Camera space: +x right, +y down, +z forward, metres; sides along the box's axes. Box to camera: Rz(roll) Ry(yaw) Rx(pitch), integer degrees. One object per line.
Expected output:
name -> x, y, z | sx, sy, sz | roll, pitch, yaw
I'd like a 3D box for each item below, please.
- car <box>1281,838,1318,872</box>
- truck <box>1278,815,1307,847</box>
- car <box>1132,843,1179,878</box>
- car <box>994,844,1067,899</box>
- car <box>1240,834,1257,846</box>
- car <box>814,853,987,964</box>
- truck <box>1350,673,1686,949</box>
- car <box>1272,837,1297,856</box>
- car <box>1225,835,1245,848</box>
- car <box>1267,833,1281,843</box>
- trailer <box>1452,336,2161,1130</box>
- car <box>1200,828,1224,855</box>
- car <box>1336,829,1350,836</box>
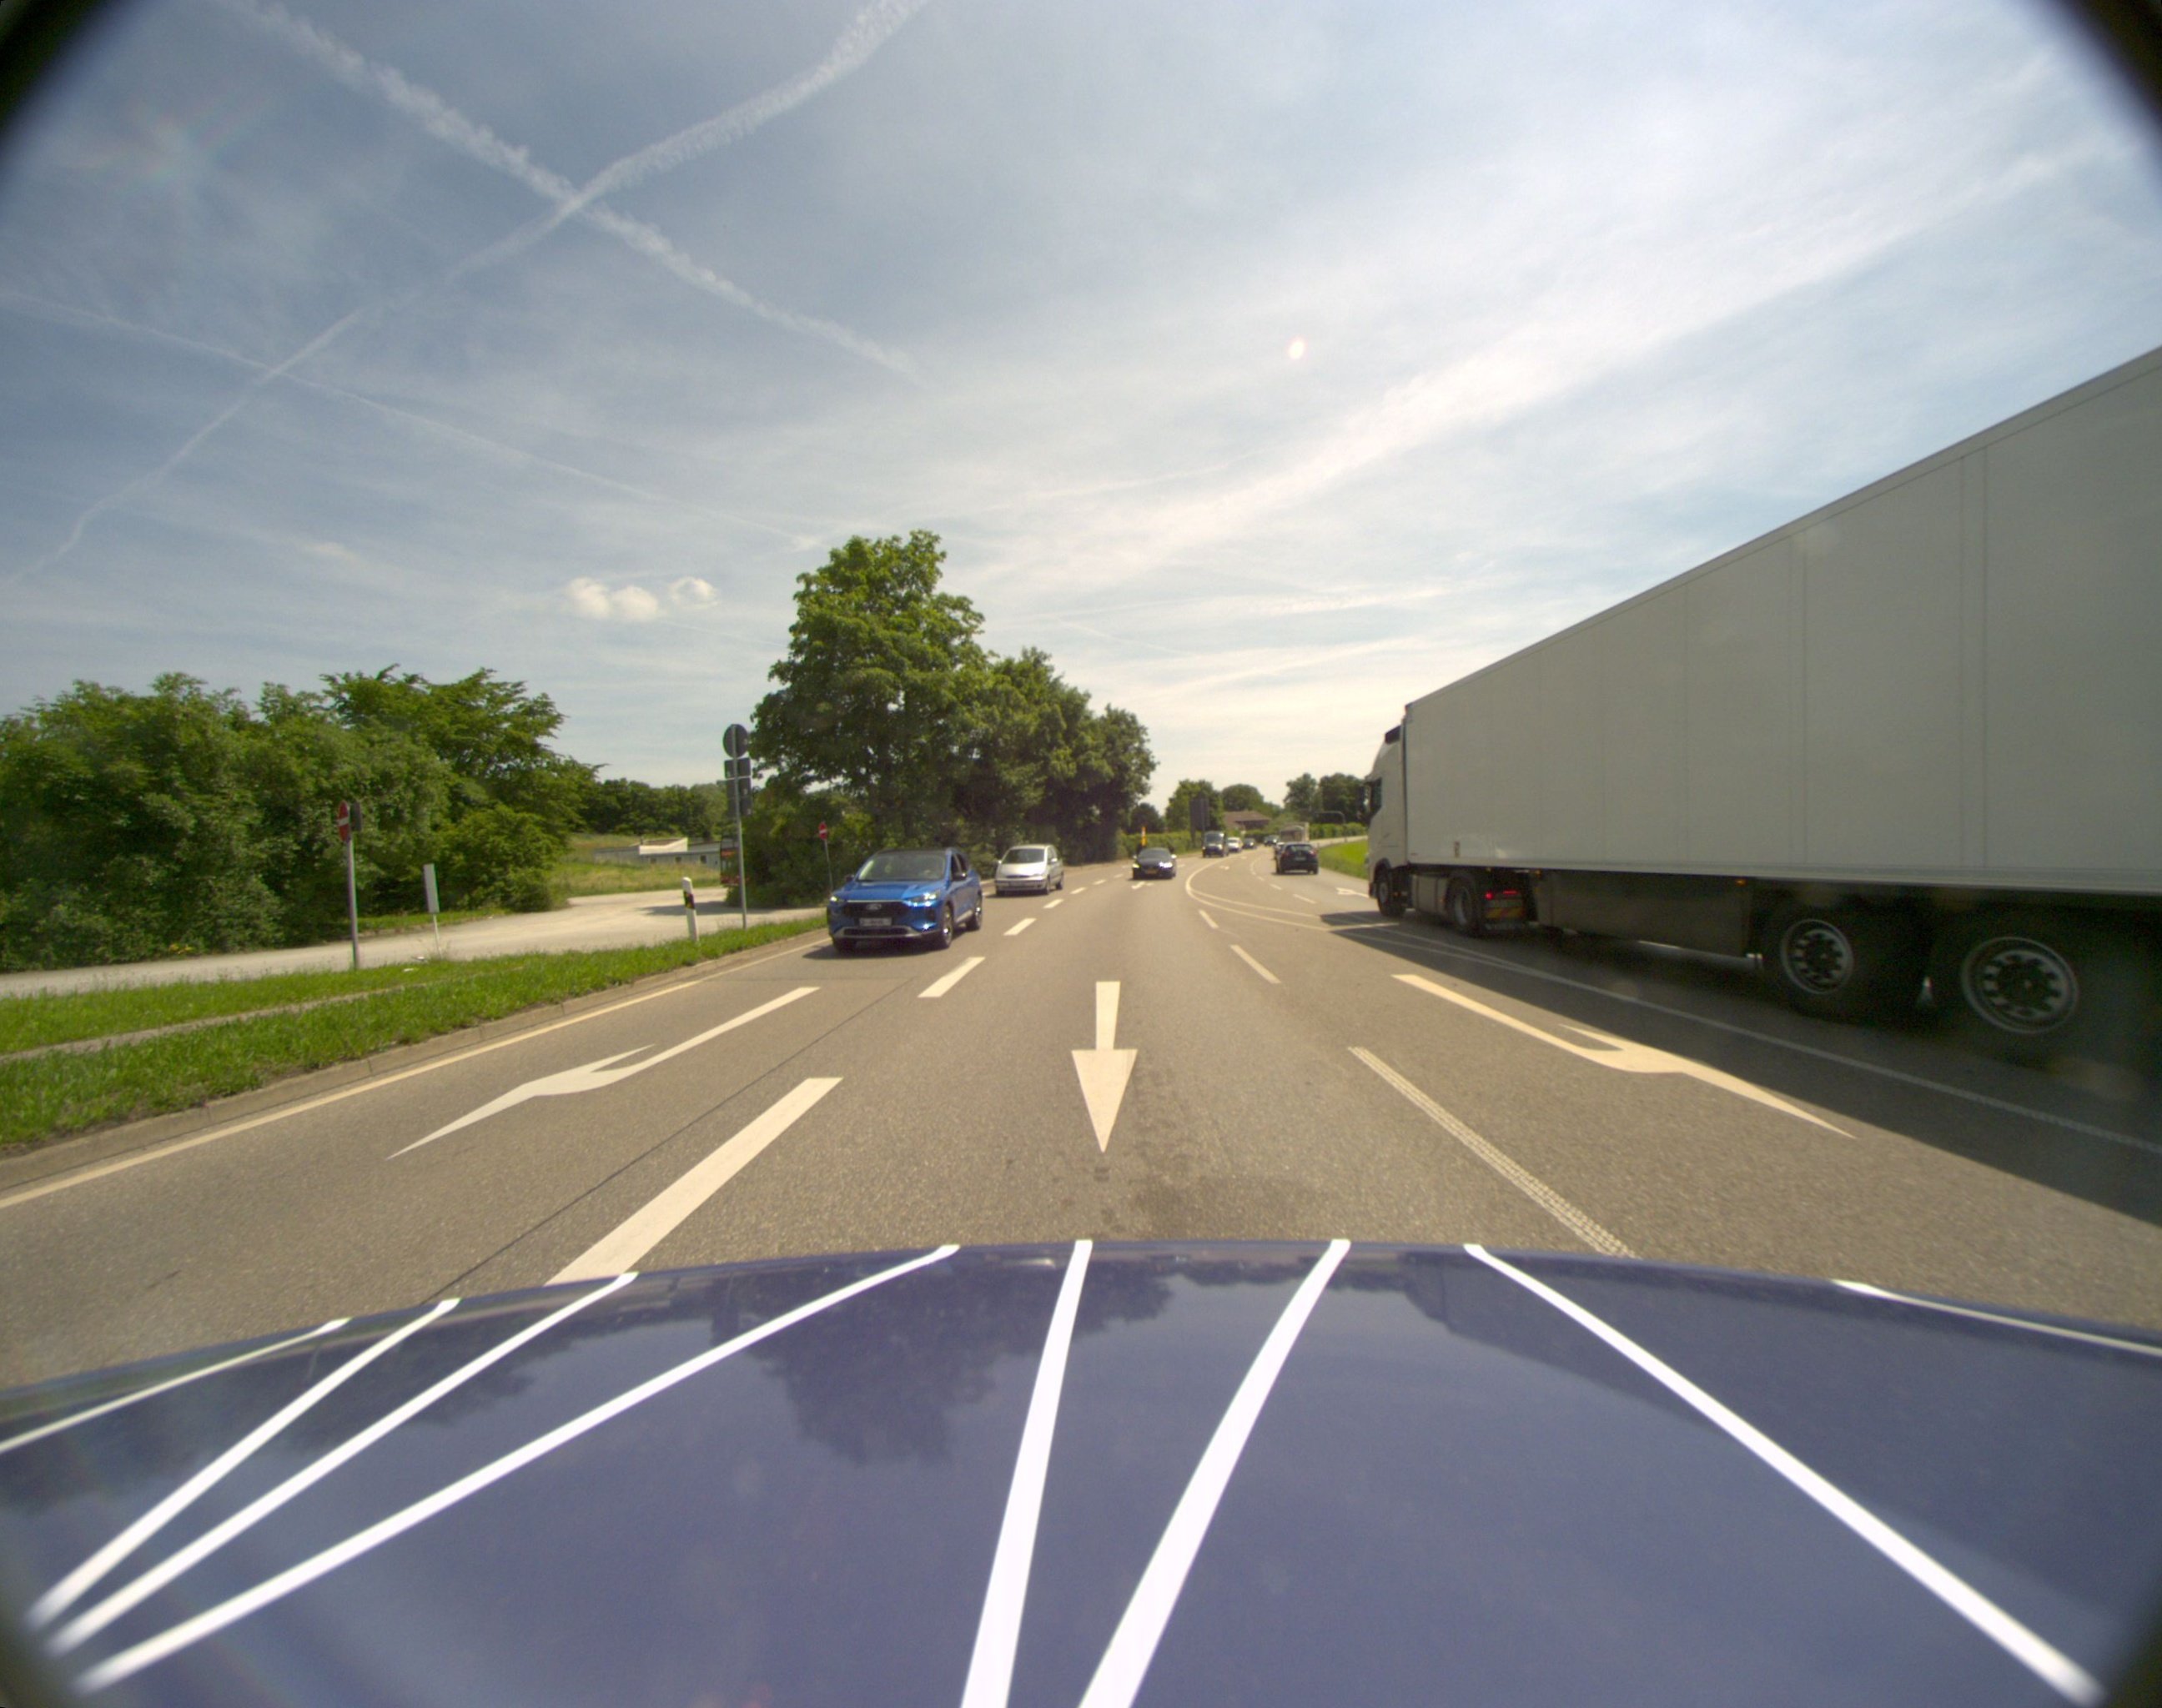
car -> 10.660, 0.023, 37.268 | 1.618, 1.550, 4.004 | -1, 1, 15
truck -> 25.047, -2.718, 89.817 | 2.972, 3.550, 6.906 | -1, 2, 18
car -> 3.522, 0.264, 35.473 | 1.782, 1.484, 4.160 | -2, 0, 11
car -> -1.660, 0.540, 26.741 | 1.865, 1.682, 4.527 | -1, 1, 5
car -> 23.287, -1.956, 105.564 | 1.780, 1.484, 4.163 | -1, 1, 20
car -> -2.962, 0.815, 13.538 | 1.783, 1.550, 4.388 | -1, 1, 3
truck -> 7.212, -0.632, 13.668 | 2.785, 3.920, 5.705 | 0, 1, 1
car -> 17.391, -0.669, 64.756 | 1.618, 1.454, 4.005 | -1, 1, 21
car -> 18.223, -1.458, 89.786 | 1.780, 1.484, 4.163 | -1, 1, 20
car -> 30.593, -2.506, 120.484 | 1.780, 1.484, 4.163 | -1, 1, 20
trailer -> 7.002, -0.656, 5.938 | 2.784, 4.078, 11.660 | -1, 1, 2
car -> 12.933, -1.239, 75.153 | 1.980, 2.504, 4.158 | -1, 1, 6
car -> 59.388, -4.825, 172.270 | 1.779, 1.484, 4.165 | -1, 2, 36
